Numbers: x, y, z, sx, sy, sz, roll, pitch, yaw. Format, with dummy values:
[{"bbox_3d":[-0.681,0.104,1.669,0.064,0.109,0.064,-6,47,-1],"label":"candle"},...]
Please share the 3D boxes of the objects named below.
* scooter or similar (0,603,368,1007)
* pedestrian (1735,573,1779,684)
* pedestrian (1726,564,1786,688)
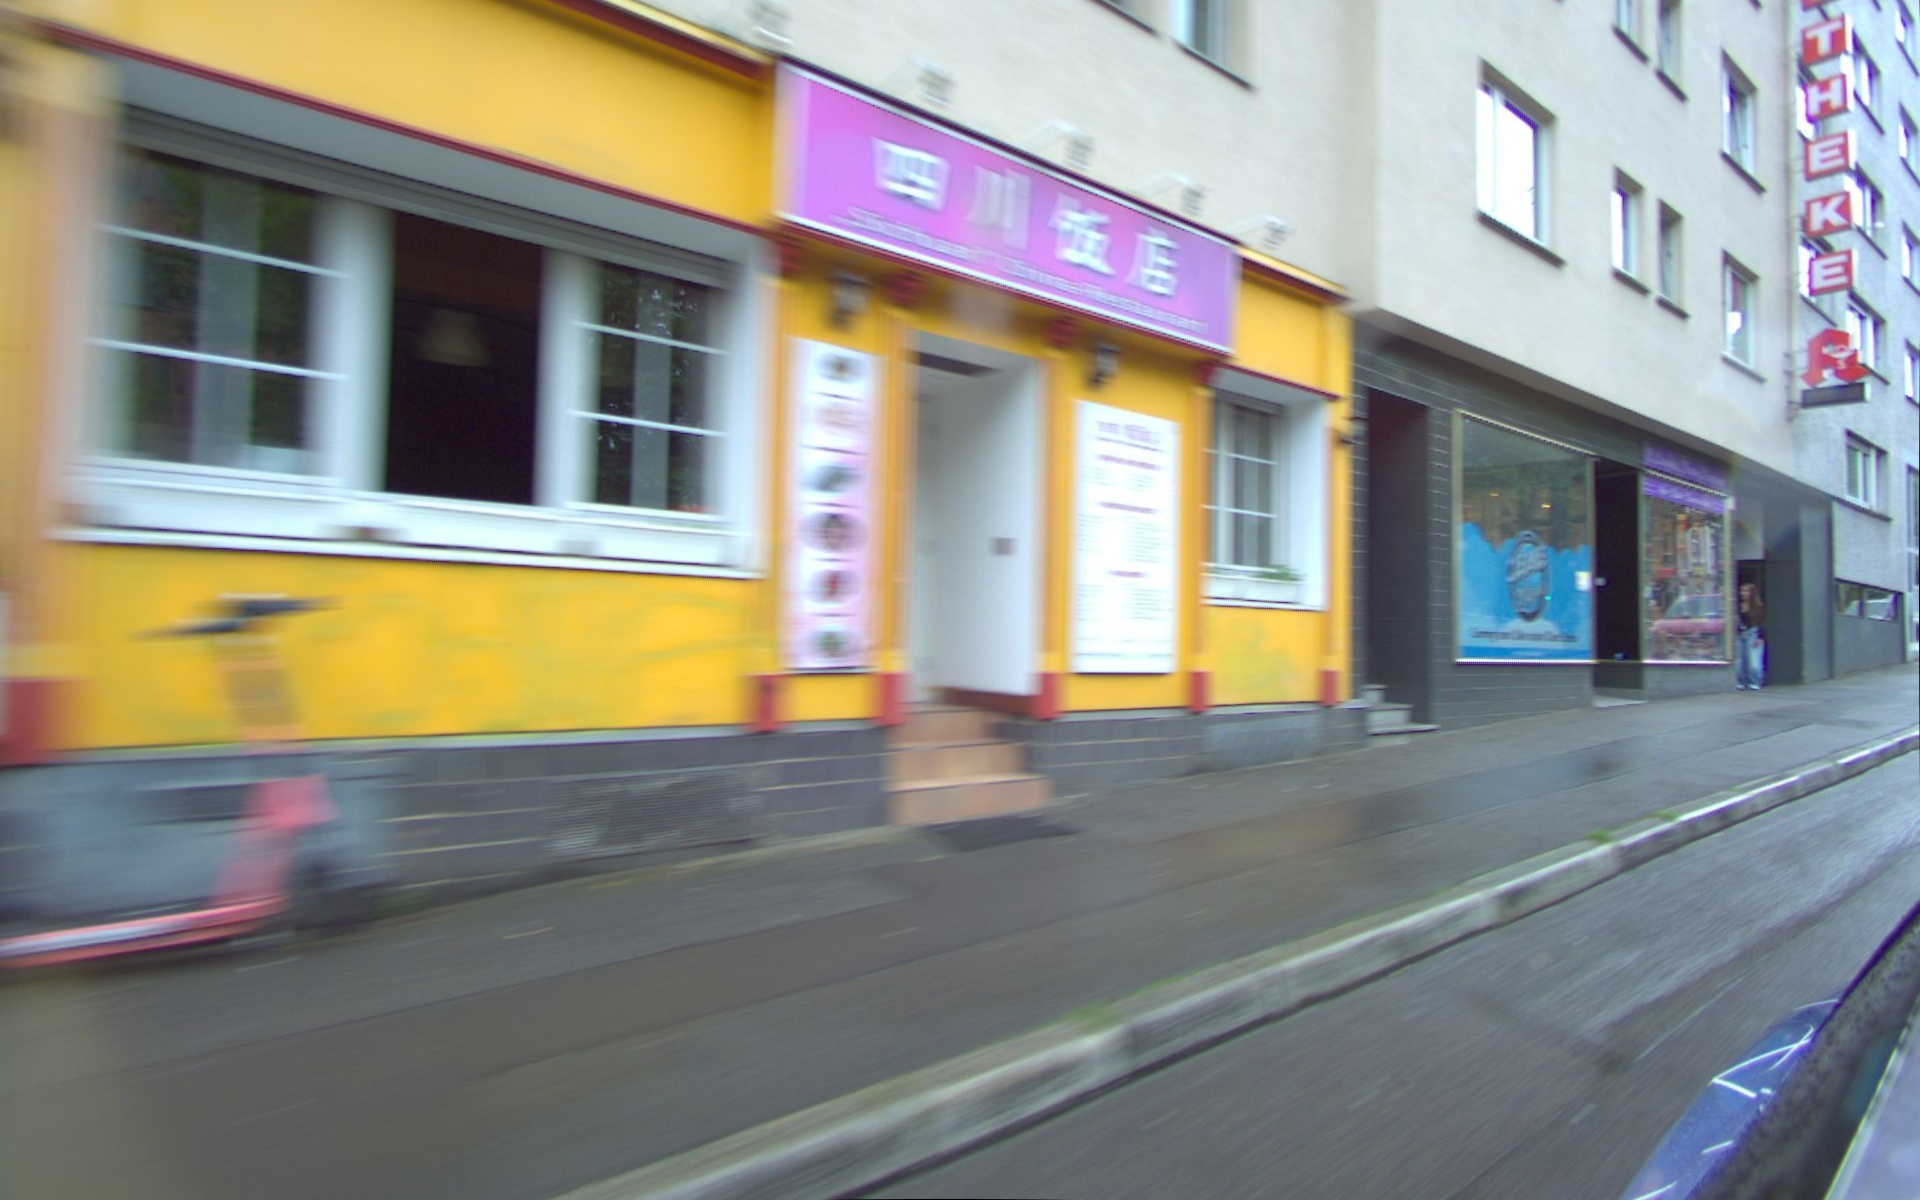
[{"bbox_3d":[-2.684,0.634,3.411,1.170,1.237,0.258,0,-1,-28],"label":"scooter or similar"},{"bbox_3d":[12.150,0.435,15.440,0.480,1.666,0.326,-2,-2,39],"label":"pedestrian"},{"bbox_3d":[11.505,0.365,14.627,0.506,1.742,0.463,-1,-1,-28],"label":"pedestrian"}]
